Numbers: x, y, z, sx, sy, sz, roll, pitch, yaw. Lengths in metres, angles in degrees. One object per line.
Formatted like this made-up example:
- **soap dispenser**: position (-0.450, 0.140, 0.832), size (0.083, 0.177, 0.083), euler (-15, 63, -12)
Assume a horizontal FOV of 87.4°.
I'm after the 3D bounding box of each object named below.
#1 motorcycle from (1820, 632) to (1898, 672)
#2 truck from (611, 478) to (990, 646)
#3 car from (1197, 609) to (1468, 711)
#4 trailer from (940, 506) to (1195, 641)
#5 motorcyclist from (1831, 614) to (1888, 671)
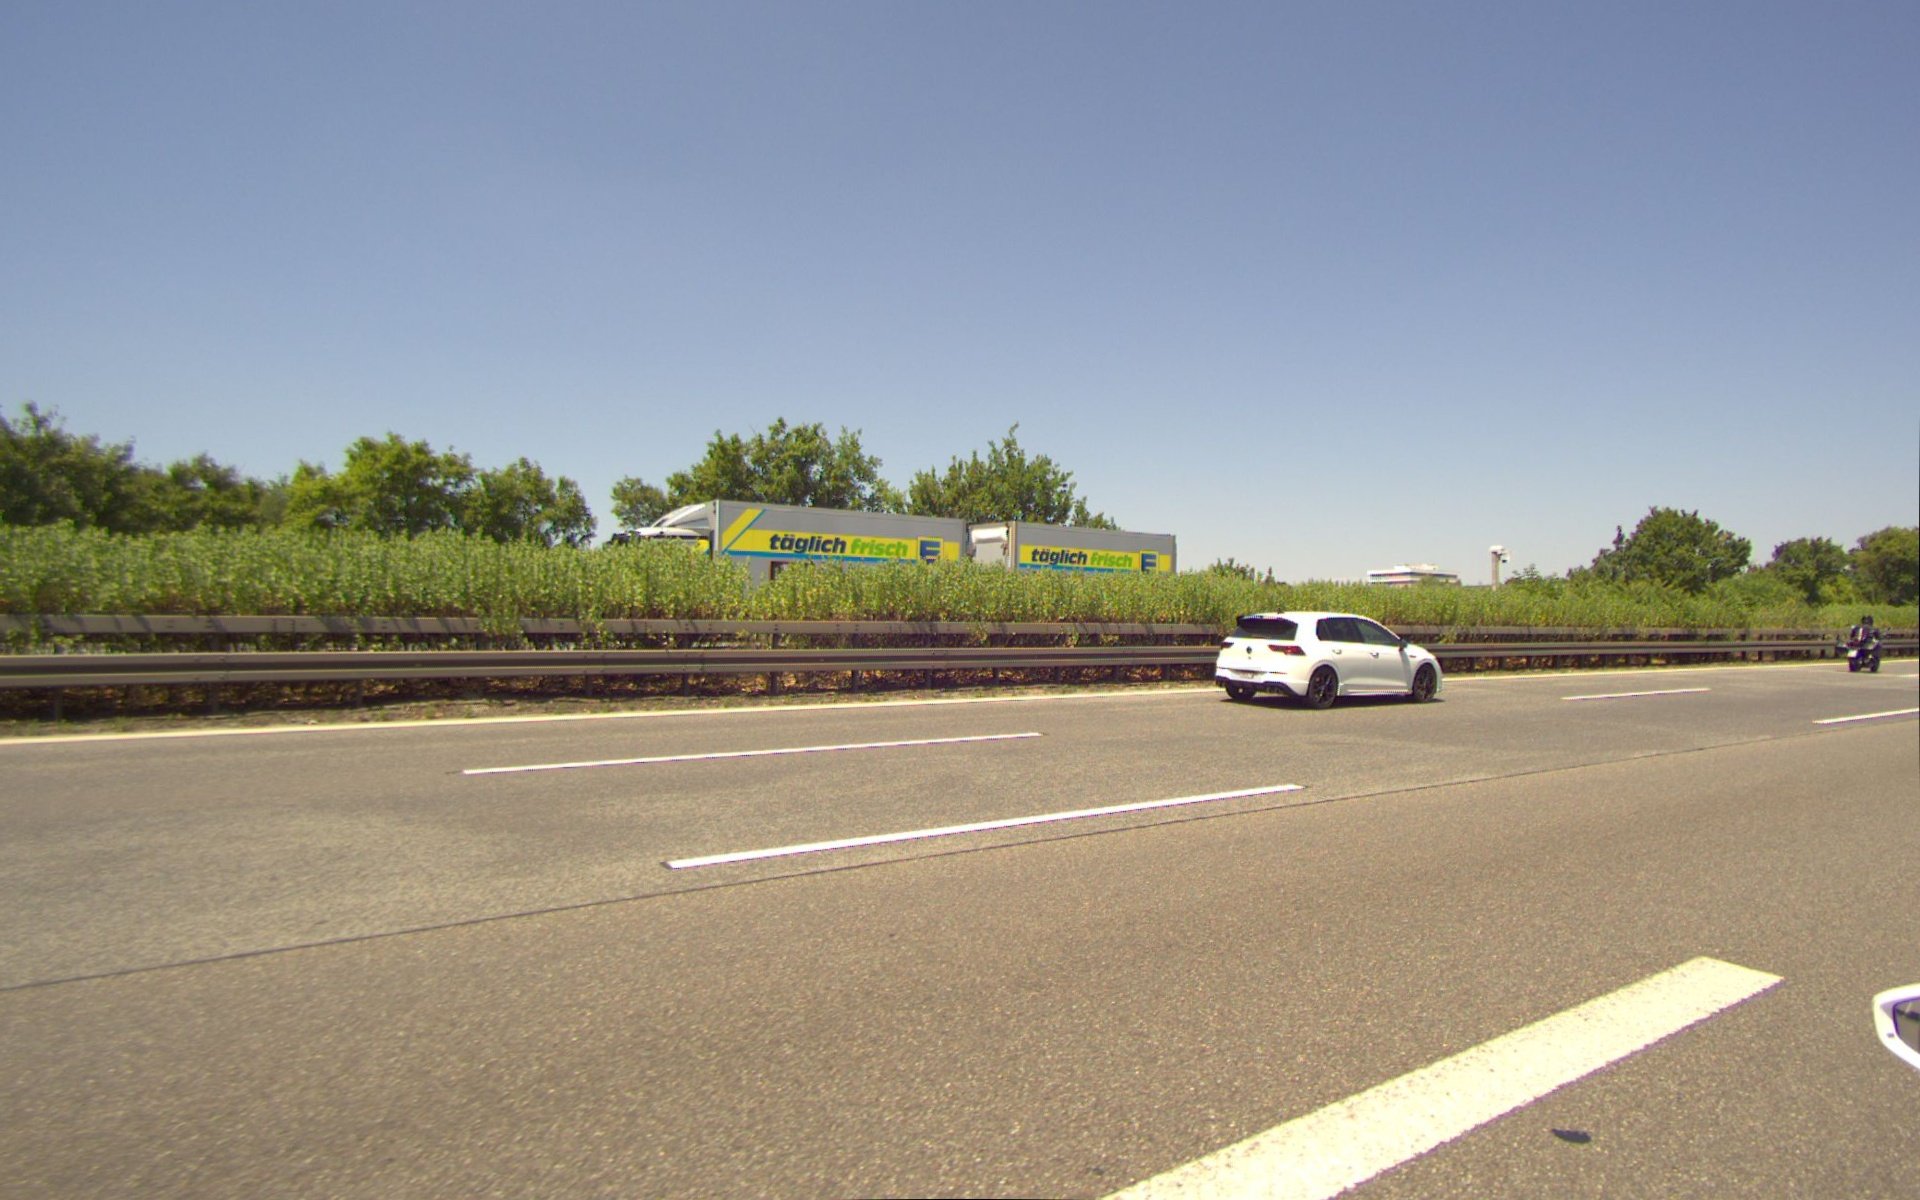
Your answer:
- **motorcycle**: position (25.958, 1.481, 28.994), size (2.817, 1.103, 0.908), euler (1, -1, -31)
- **truck**: position (-4.177, -0.826, 28.212), size (10.213, 4.020, 2.983), euler (1, 0, -34)
- **car**: position (6.160, 0.922, 16.417), size (4.619, 1.459, 1.771), euler (1, -1, -33)
- **trailer**: position (3.735, -0.728, 33.459), size (8.568, 4.020, 2.905), euler (1, 0, -34)
- **motorcyclist**: position (26.006, 1.213, 29.032), size (1.284, 1.618, 0.888), euler (1, 0, -31)
